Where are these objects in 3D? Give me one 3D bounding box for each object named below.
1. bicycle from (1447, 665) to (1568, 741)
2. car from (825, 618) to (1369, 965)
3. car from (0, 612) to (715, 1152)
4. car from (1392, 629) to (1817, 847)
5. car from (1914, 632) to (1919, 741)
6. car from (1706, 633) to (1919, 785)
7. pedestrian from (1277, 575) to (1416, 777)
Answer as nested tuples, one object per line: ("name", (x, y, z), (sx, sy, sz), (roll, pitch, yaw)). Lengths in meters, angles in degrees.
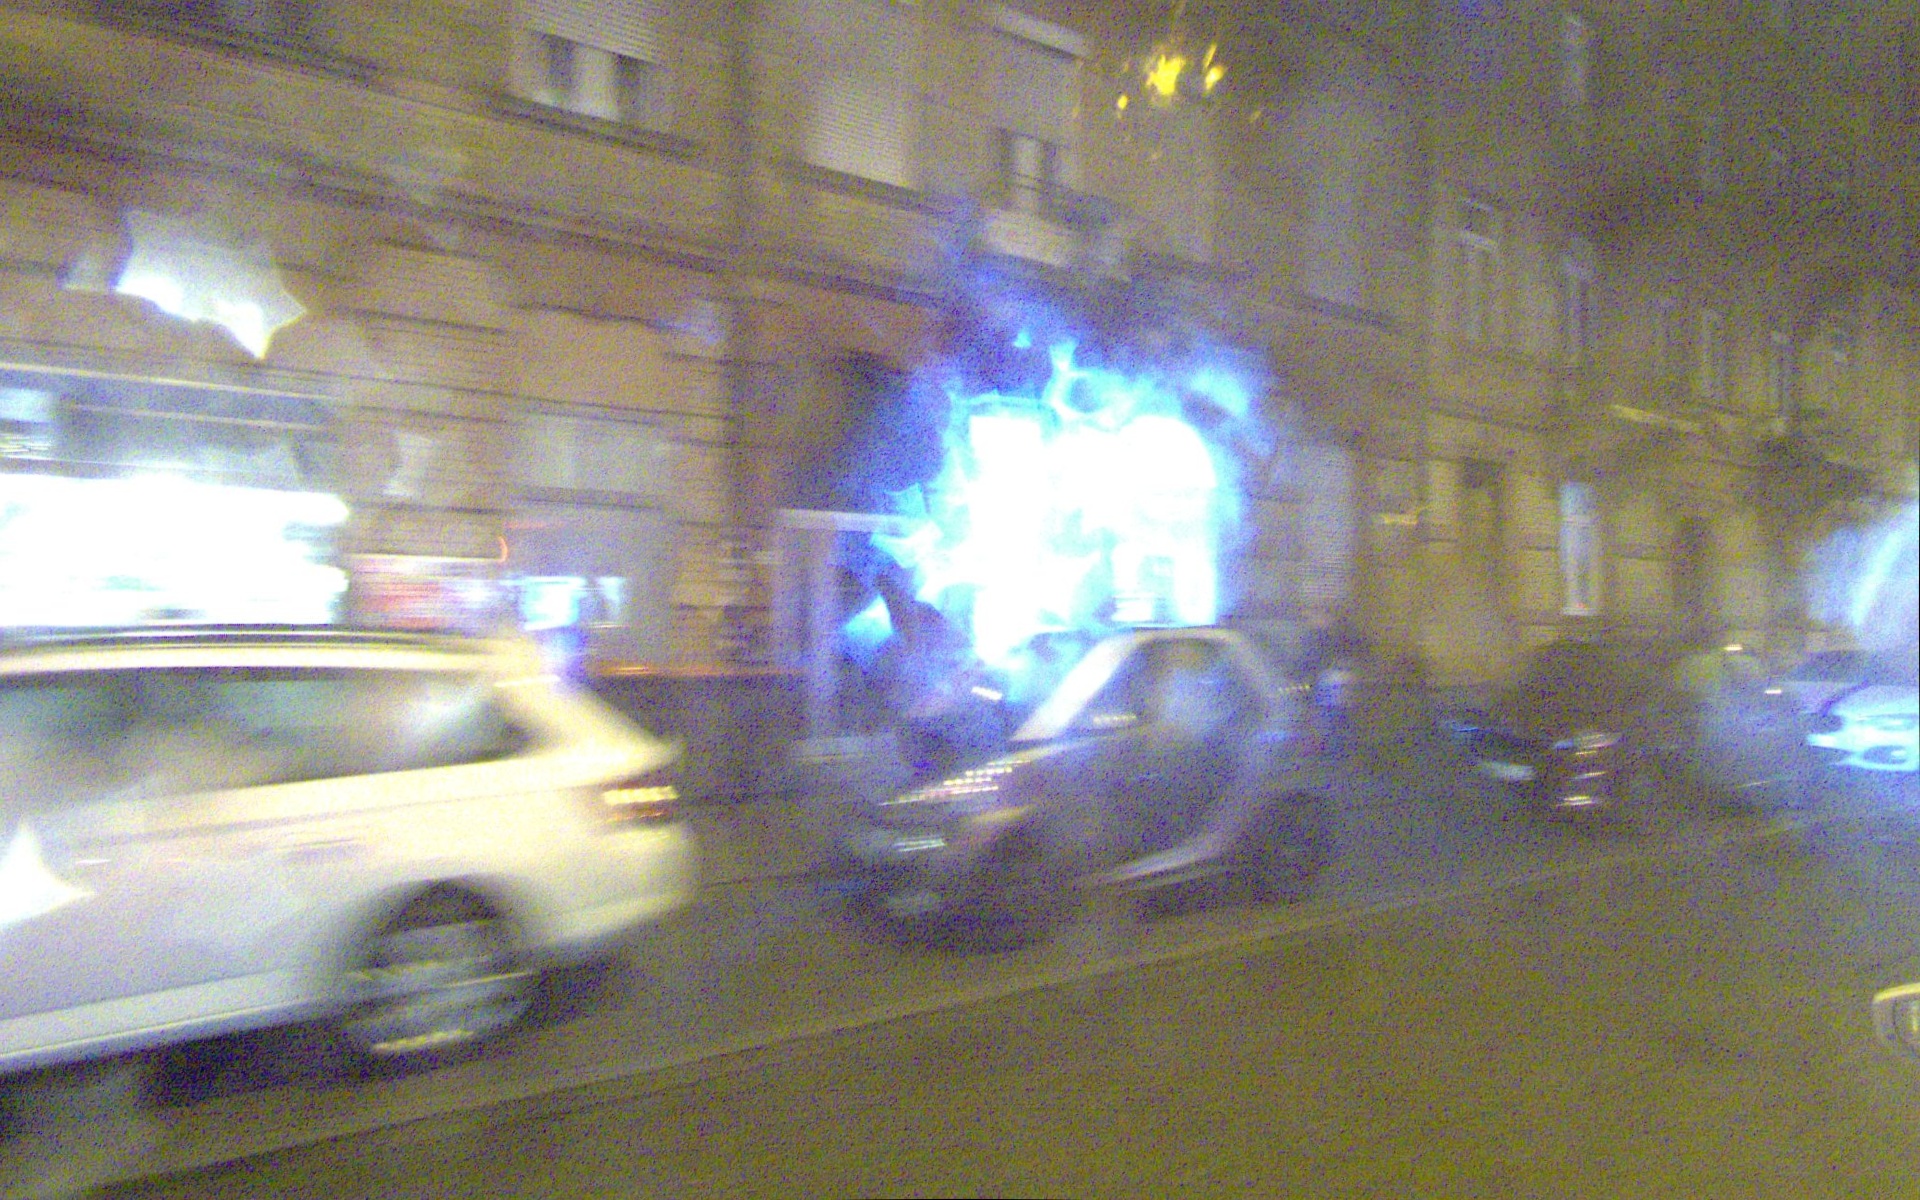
("bicycle", (7.446, 1.388, 13.626), (1.990, 0.970, 0.447), (3, -3, -29))
("car", (0.791, 0.888, 5.841), (2.753, 1.530, 1.579), (1, -1, -29))
("car", (-3.065, 0.823, 3.596), (3.975, 1.483, 1.579), (1, 1, -29))
("car", (5.459, 0.999, 8.454), (3.460, 1.468, 1.579), (1, -1, -29))
("car", (15.420, 1.230, 14.004), (4.566, 1.468, 1.746), (1, 1, -29))
("car", (10.471, 1.097, 11.353), (4.264, 1.419, 1.683), (1, -1, -29))
("pedestrian", (3.838, 0.727, 10.071), (0.958, 1.889, 1.035), (2, 0, 2))
